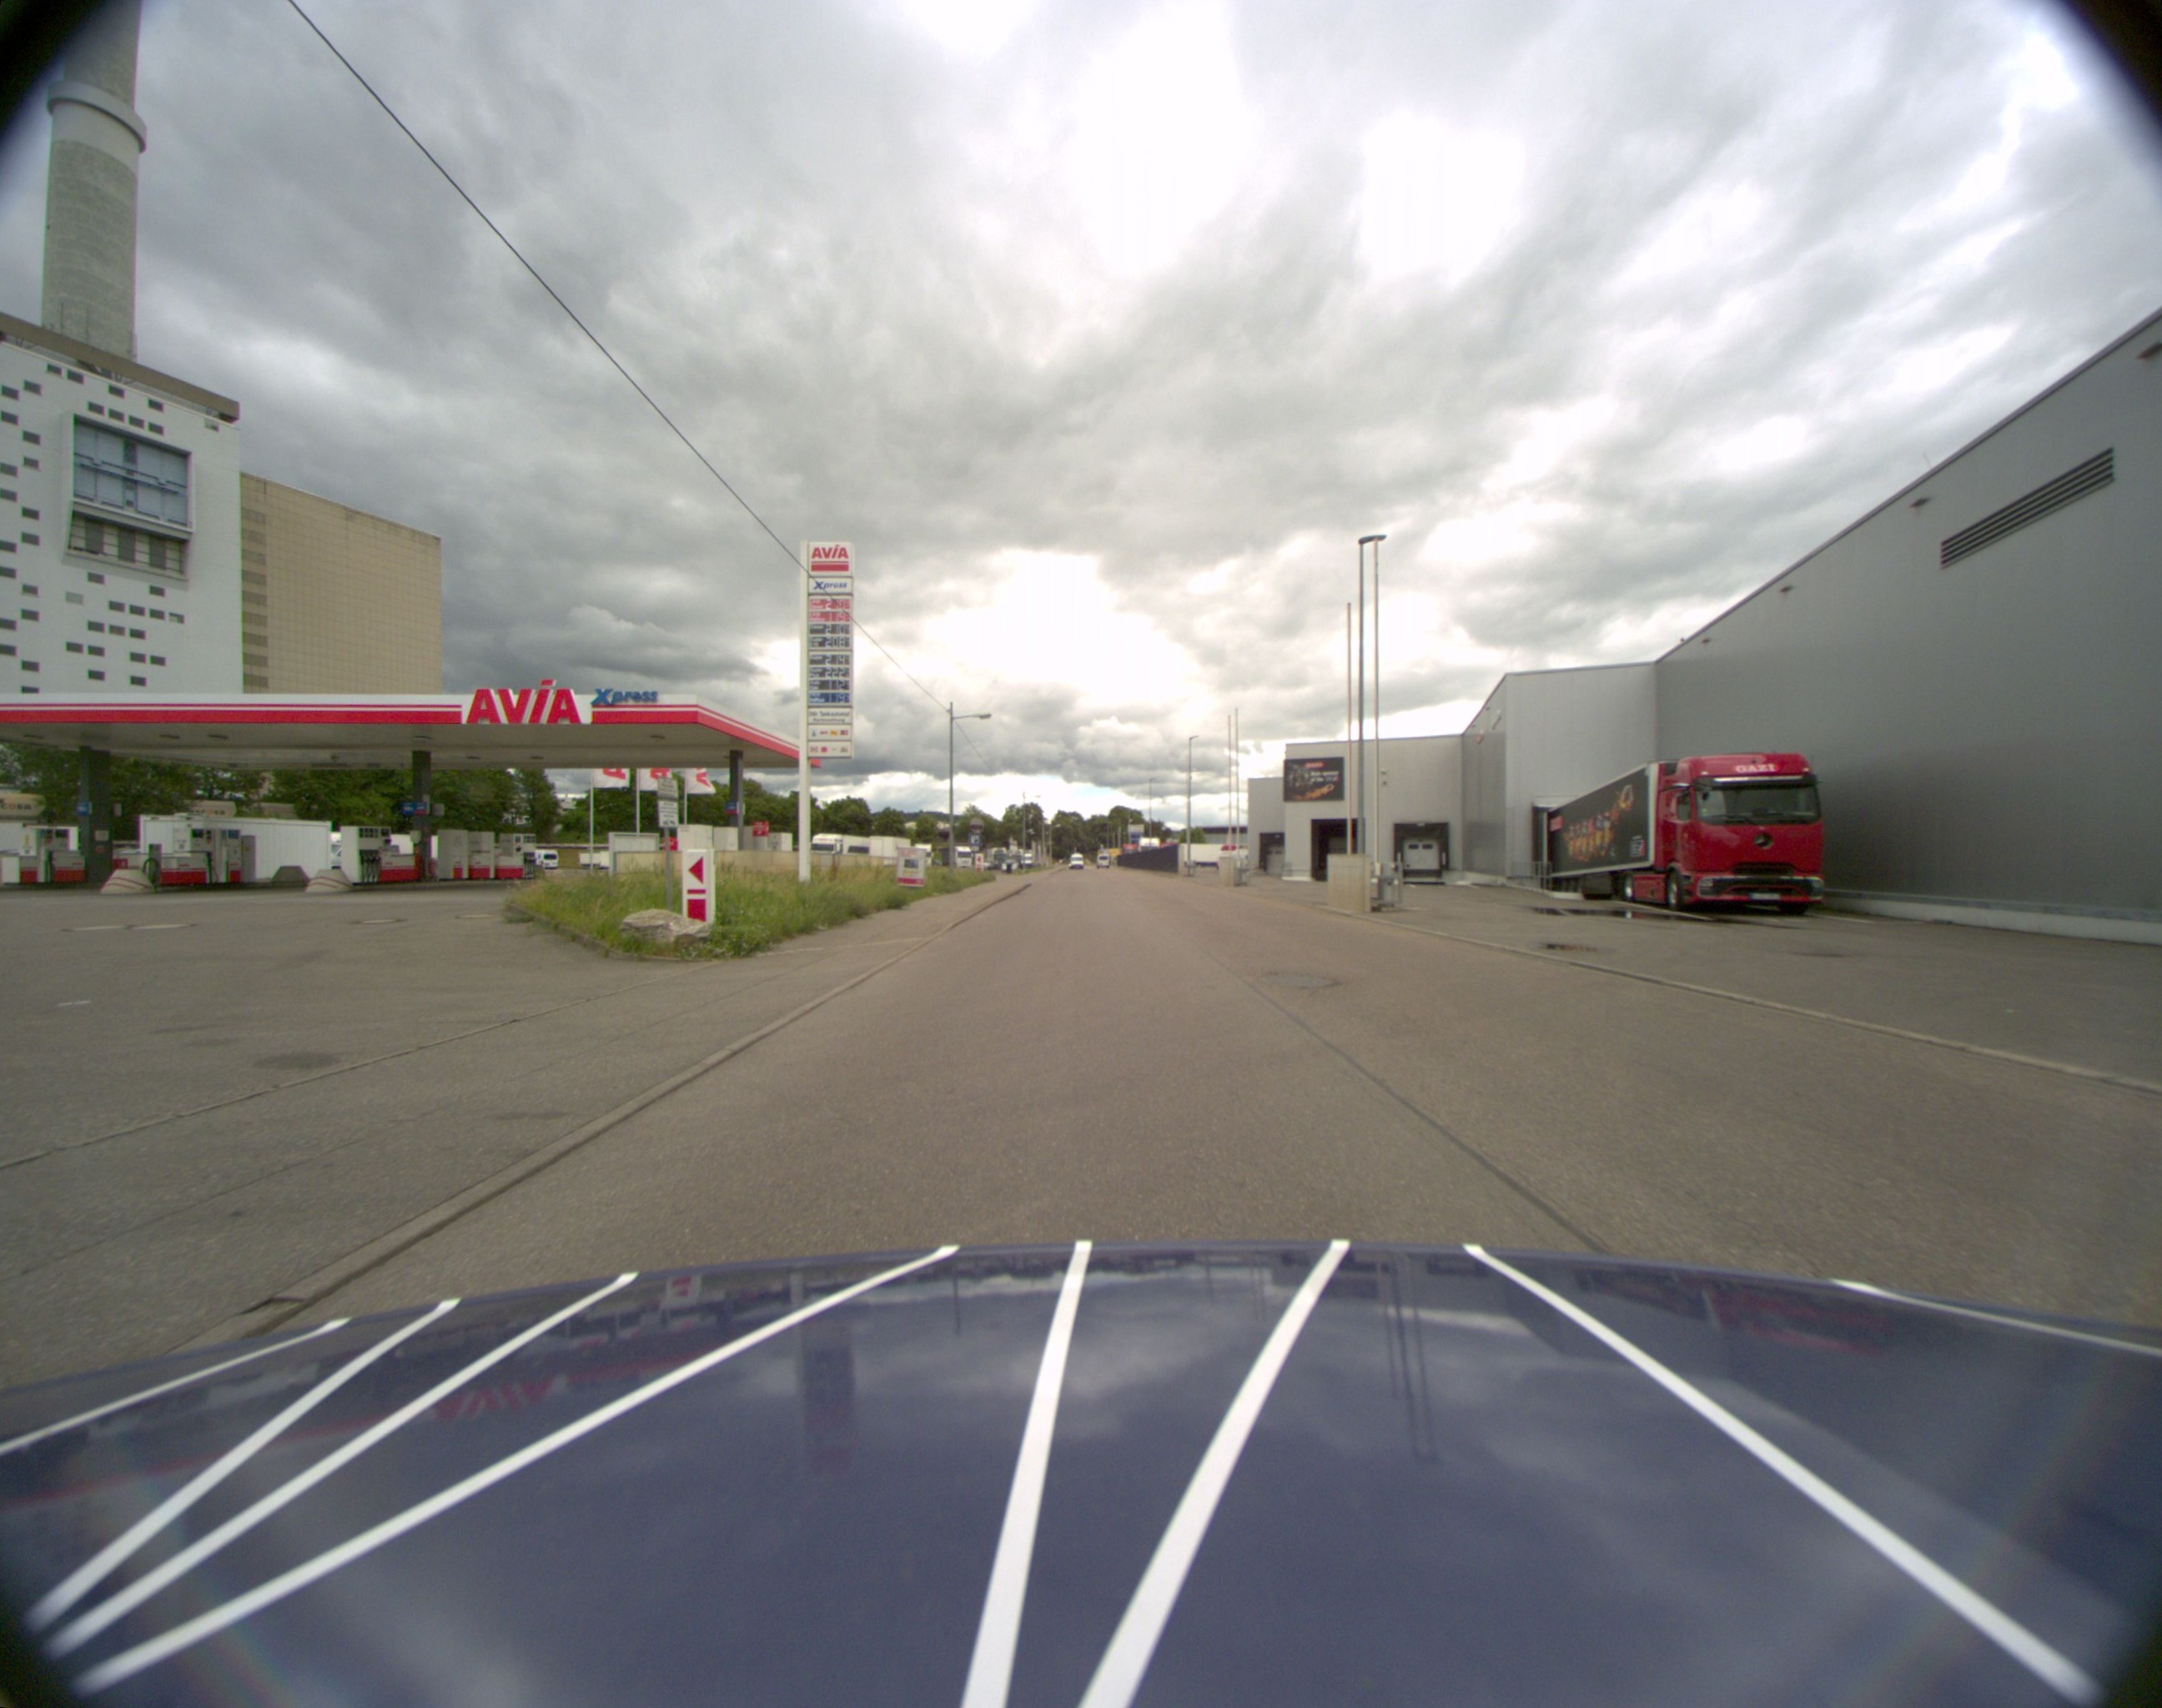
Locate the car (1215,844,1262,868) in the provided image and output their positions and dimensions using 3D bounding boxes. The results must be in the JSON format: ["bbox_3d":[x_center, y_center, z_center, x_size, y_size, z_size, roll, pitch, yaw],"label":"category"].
[{"bbox_3d":[19.395,0.262,93.444,5.422,2.714,2.245,-2,-1,19],"label":"car"}]

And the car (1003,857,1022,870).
[{"bbox_3d":[-7.955,1.109,88.102,1.778,1.455,4.560,0,0,0],"label":"car"}]

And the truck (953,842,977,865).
[{"bbox_3d":[-20.845,-0.094,136.406,2.877,4.071,6.745,1,0,-19],"label":"truck"}]

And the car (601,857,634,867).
[{"bbox_3d":[-64.277,1.051,105.395,4.137,1.346,2.004,0,0,27],"label":"car"}]

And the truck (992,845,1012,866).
[{"bbox_3d":[-15.201,0.286,145.651,2.876,3.990,6.748,1,0,-15],"label":"truck"}]

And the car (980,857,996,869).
[{"bbox_3d":[-12.895,1.221,105.758,1.769,1.561,4.000,-2,0,0],"label":"car"}]

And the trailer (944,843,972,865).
[{"bbox_3d":[-23.293,0.015,143.218,2.843,4.071,13.373,1,0,-20],"label":"trailer"}]

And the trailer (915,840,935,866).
[{"bbox_3d":[-27.075,-0.128,131.432,2.841,4.070,13.380,1,0,-14],"label":"trailer"}]

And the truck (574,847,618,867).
[{"bbox_3d":[-66.147,0.379,103.619,5.941,2.476,2.286,2,0,26],"label":"truck"}]

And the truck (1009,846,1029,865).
[{"bbox_3d":[-12.236,0.278,149.843,2.876,3.608,6.748,1,0,-15],"label":"truck"}]

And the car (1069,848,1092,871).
[{"bbox_3d":[-0.068,0.930,125.865,3.339,3.586,8.667,0,0,-3],"label":"car"}]

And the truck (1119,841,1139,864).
[{"bbox_3d":[8.384,-0.191,133.262,3.021,3.826,5.670,2,0,0],"label":"truck"}]

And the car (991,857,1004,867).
[{"bbox_3d":[-13.076,1.261,119.628,1.497,1.486,4.053,0,0,2],"label":"car"}]

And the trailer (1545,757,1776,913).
[{"bbox_3d":[18.857,-0.456,25.985,2.745,4.007,12.637,-1,0,21],"label":"trailer"}]

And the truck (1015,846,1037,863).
[{"bbox_3d":[-12.093,0.081,166.541,2.832,3.689,9.090,0,0,-18],"label":"truck"}]

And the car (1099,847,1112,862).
[{"bbox_3d":[4.262,0.117,131.921,1.998,2.401,5.258,-1,0,3],"label":"car"}]

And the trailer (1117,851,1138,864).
[{"bbox_3d":[8.391,0.627,138.776,3.046,2.179,12.048,2,0,1],"label":"trailer"}]

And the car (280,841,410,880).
[{"bbox_3d":[-38.012,0.342,39.470,1.988,1.901,4.951,0,0,0],"label":"car"}]

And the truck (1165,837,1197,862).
[{"bbox_3d":[16.776,-0.769,127.295,4.878,4.108,3.048,2,0,1],"label":"truck"}]

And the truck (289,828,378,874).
[{"bbox_3d":[-69.787,-0.244,70.925,7.237,4.096,3.718,0,0,27],"label":"truck"}]

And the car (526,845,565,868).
[{"bbox_3d":[-67.590,0.364,95.876,5.072,2.820,2.112,0,0,31],"label":"car"}]

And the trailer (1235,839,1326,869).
[{"bbox_3d":[30.768,0.011,117.481,13.157,4.188,3.053,2,0,22],"label":"trailer"}]

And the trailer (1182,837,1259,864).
[{"bbox_3d":[23.122,-0.594,125.915,12.020,4.108,3.053,2,0,19],"label":"trailer"}]

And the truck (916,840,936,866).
[{"bbox_3d":[-25.643,-0.143,125.472,2.876,4.071,6.748,1,0,-14],"label":"truck"}]

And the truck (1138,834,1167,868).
[{"bbox_3d":[9.090,-0.341,97.145,3.366,4.136,5.629,2,0,4],"label":"truck"}]

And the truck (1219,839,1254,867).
[{"bbox_3d":[24.583,-0.158,120.028,4.870,4.180,3.053,2,0,22],"label":"truck"}]

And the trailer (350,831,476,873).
[{"bbox_3d":[-70.767,-0.177,80.232,18.451,4.148,3.649,0,0,28],"label":"trailer"}]

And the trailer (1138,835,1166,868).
[{"bbox_3d":[9.562,-0.340,104.129,3.366,4.136,13.852,2,0,4],"label":"trailer"}]

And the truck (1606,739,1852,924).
[{"bbox_3d":[16.689,-0.457,20.299,2.745,4.007,7.104,-1,0,21],"label":"truck"}]

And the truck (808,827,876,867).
[{"bbox_3d":[-25.691,-0.665,82.540,3.082,3.944,13.069,2,0,0],"label":"truck"}]

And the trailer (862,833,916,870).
[{"bbox_3d":[-21.733,-0.225,86.815,2.964,3.944,10.407,2,0,3],"label":"trailer"}]

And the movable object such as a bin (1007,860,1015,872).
[{"bbox_3d":[-6.511,1.094,71.030,0.716,1.075,0.662,0,0,-6],"label":"movable object such as a bin"}]

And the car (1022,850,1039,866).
[{"bbox_3d":[-7.891,0.674,119.437,2.091,2.401,6.084,0,0,2],"label":"car"}]

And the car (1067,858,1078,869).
[{"bbox_3d":[-1.626,1.763,139.394,1.713,2.002,3.888,0,0,-5],"label":"car"}]

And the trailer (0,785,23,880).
[{"bbox_3d":[-45.699,-0.911,24.617,3.007,3.892,14.300,0,0,-1],"label":"trailer"}]
